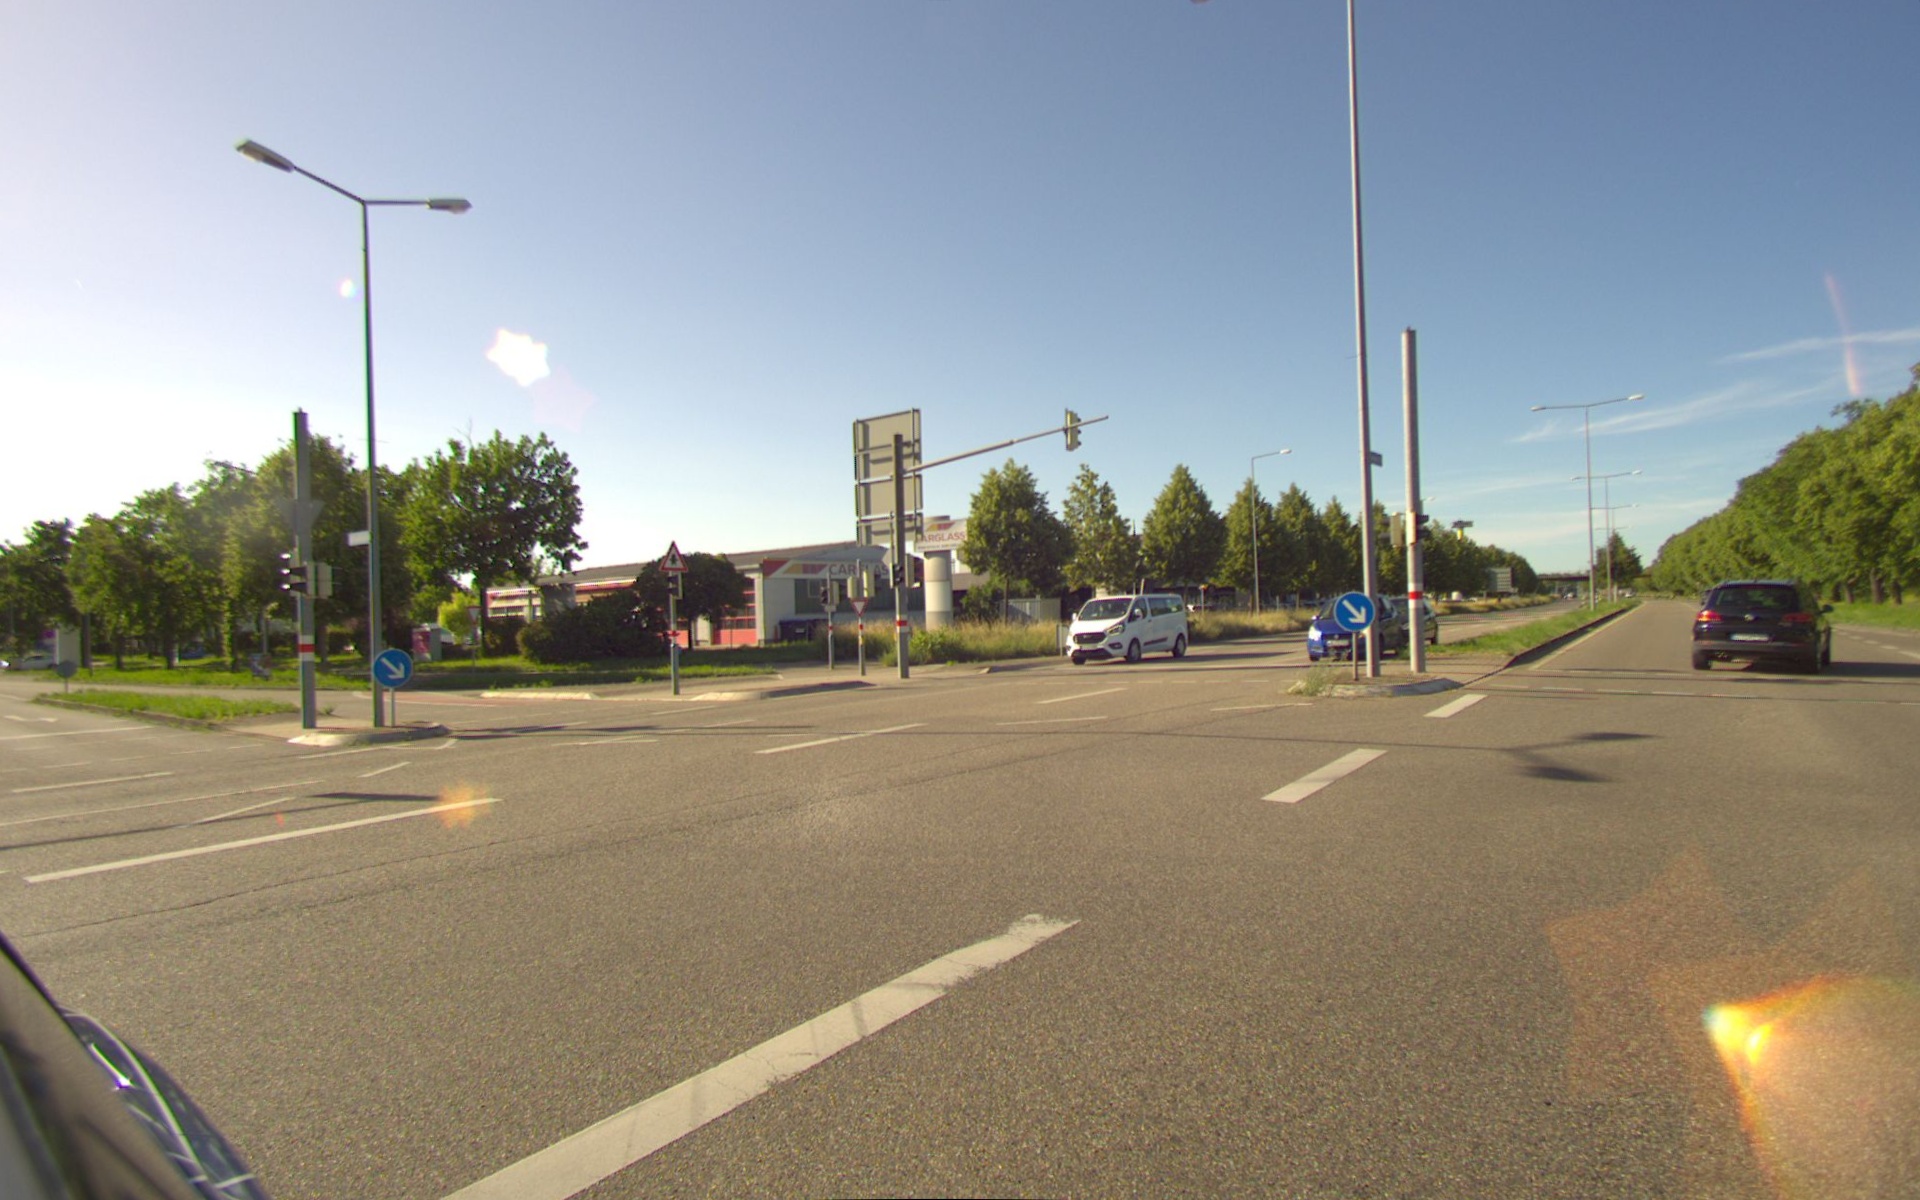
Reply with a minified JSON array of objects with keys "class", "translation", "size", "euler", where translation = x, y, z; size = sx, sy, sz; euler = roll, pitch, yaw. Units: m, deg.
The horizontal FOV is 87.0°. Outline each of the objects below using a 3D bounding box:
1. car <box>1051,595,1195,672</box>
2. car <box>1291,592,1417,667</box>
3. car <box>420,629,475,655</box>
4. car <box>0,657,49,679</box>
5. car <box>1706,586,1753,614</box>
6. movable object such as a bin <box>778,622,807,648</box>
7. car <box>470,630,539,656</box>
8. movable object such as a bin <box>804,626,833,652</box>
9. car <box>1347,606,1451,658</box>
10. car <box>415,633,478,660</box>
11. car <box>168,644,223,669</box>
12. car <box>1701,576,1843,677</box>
[{"class":"car","translation":[4.978,0.946,30.201],"size":[2.043,2.029,5.212],"euler":[-5,-3,35]},{"class":"car","translation":[9.803,0.695,25.011],"size":[1.889,1.656,3.991],"euler":[-5,-3,36]},{"class":"car","translation":[-47.913,3.883,94.658],"size":[1.776,2.233,4.159],"euler":[-3,-2,39]},{"class":"car","translation":[-78.429,5.649,83.804],"size":[4.427,1.719,2.002],"euler":[-1,-2,-43]},{"class":"car","translation":[49.788,0.036,65.536],"size":[2.042,1.628,4.367],"euler":[-5,-3,33]},{"class":"movable object such as a bin","translation":[-8.701,1.816,52.572],"size":[0.992,1.308,1.116],"euler":[-3,-2,42]},{"class":"car","translation":[-33.668,3.160,74.861],"size":[1.996,1.599,4.185],"euler":[-4,0,40]},{"class":"movable object such as a bin","translation":[-7.551,2.077,53.941],"size":[0.992,1.308,1.116],"euler":[-3,-2,42]},{"class":"car","translation":[12.759,0.898,29.285],"size":[1.889,1.284,3.991],"euler":[-5,-3,36]},{"class":"car","translation":[-44.170,3.980,87.124],"size":[4.426,1.960,2.000],"euler":[-3,0,-43]},{"class":"car","translation":[-72.433,5.295,95.906],"size":[3.938,2.029,2.003],"euler":[-3,0,-40]},{"class":"car","translation":[15.081,0.443,18.963],"size":[1.830,1.639,3.951],"euler":[-3,0,37]}]
